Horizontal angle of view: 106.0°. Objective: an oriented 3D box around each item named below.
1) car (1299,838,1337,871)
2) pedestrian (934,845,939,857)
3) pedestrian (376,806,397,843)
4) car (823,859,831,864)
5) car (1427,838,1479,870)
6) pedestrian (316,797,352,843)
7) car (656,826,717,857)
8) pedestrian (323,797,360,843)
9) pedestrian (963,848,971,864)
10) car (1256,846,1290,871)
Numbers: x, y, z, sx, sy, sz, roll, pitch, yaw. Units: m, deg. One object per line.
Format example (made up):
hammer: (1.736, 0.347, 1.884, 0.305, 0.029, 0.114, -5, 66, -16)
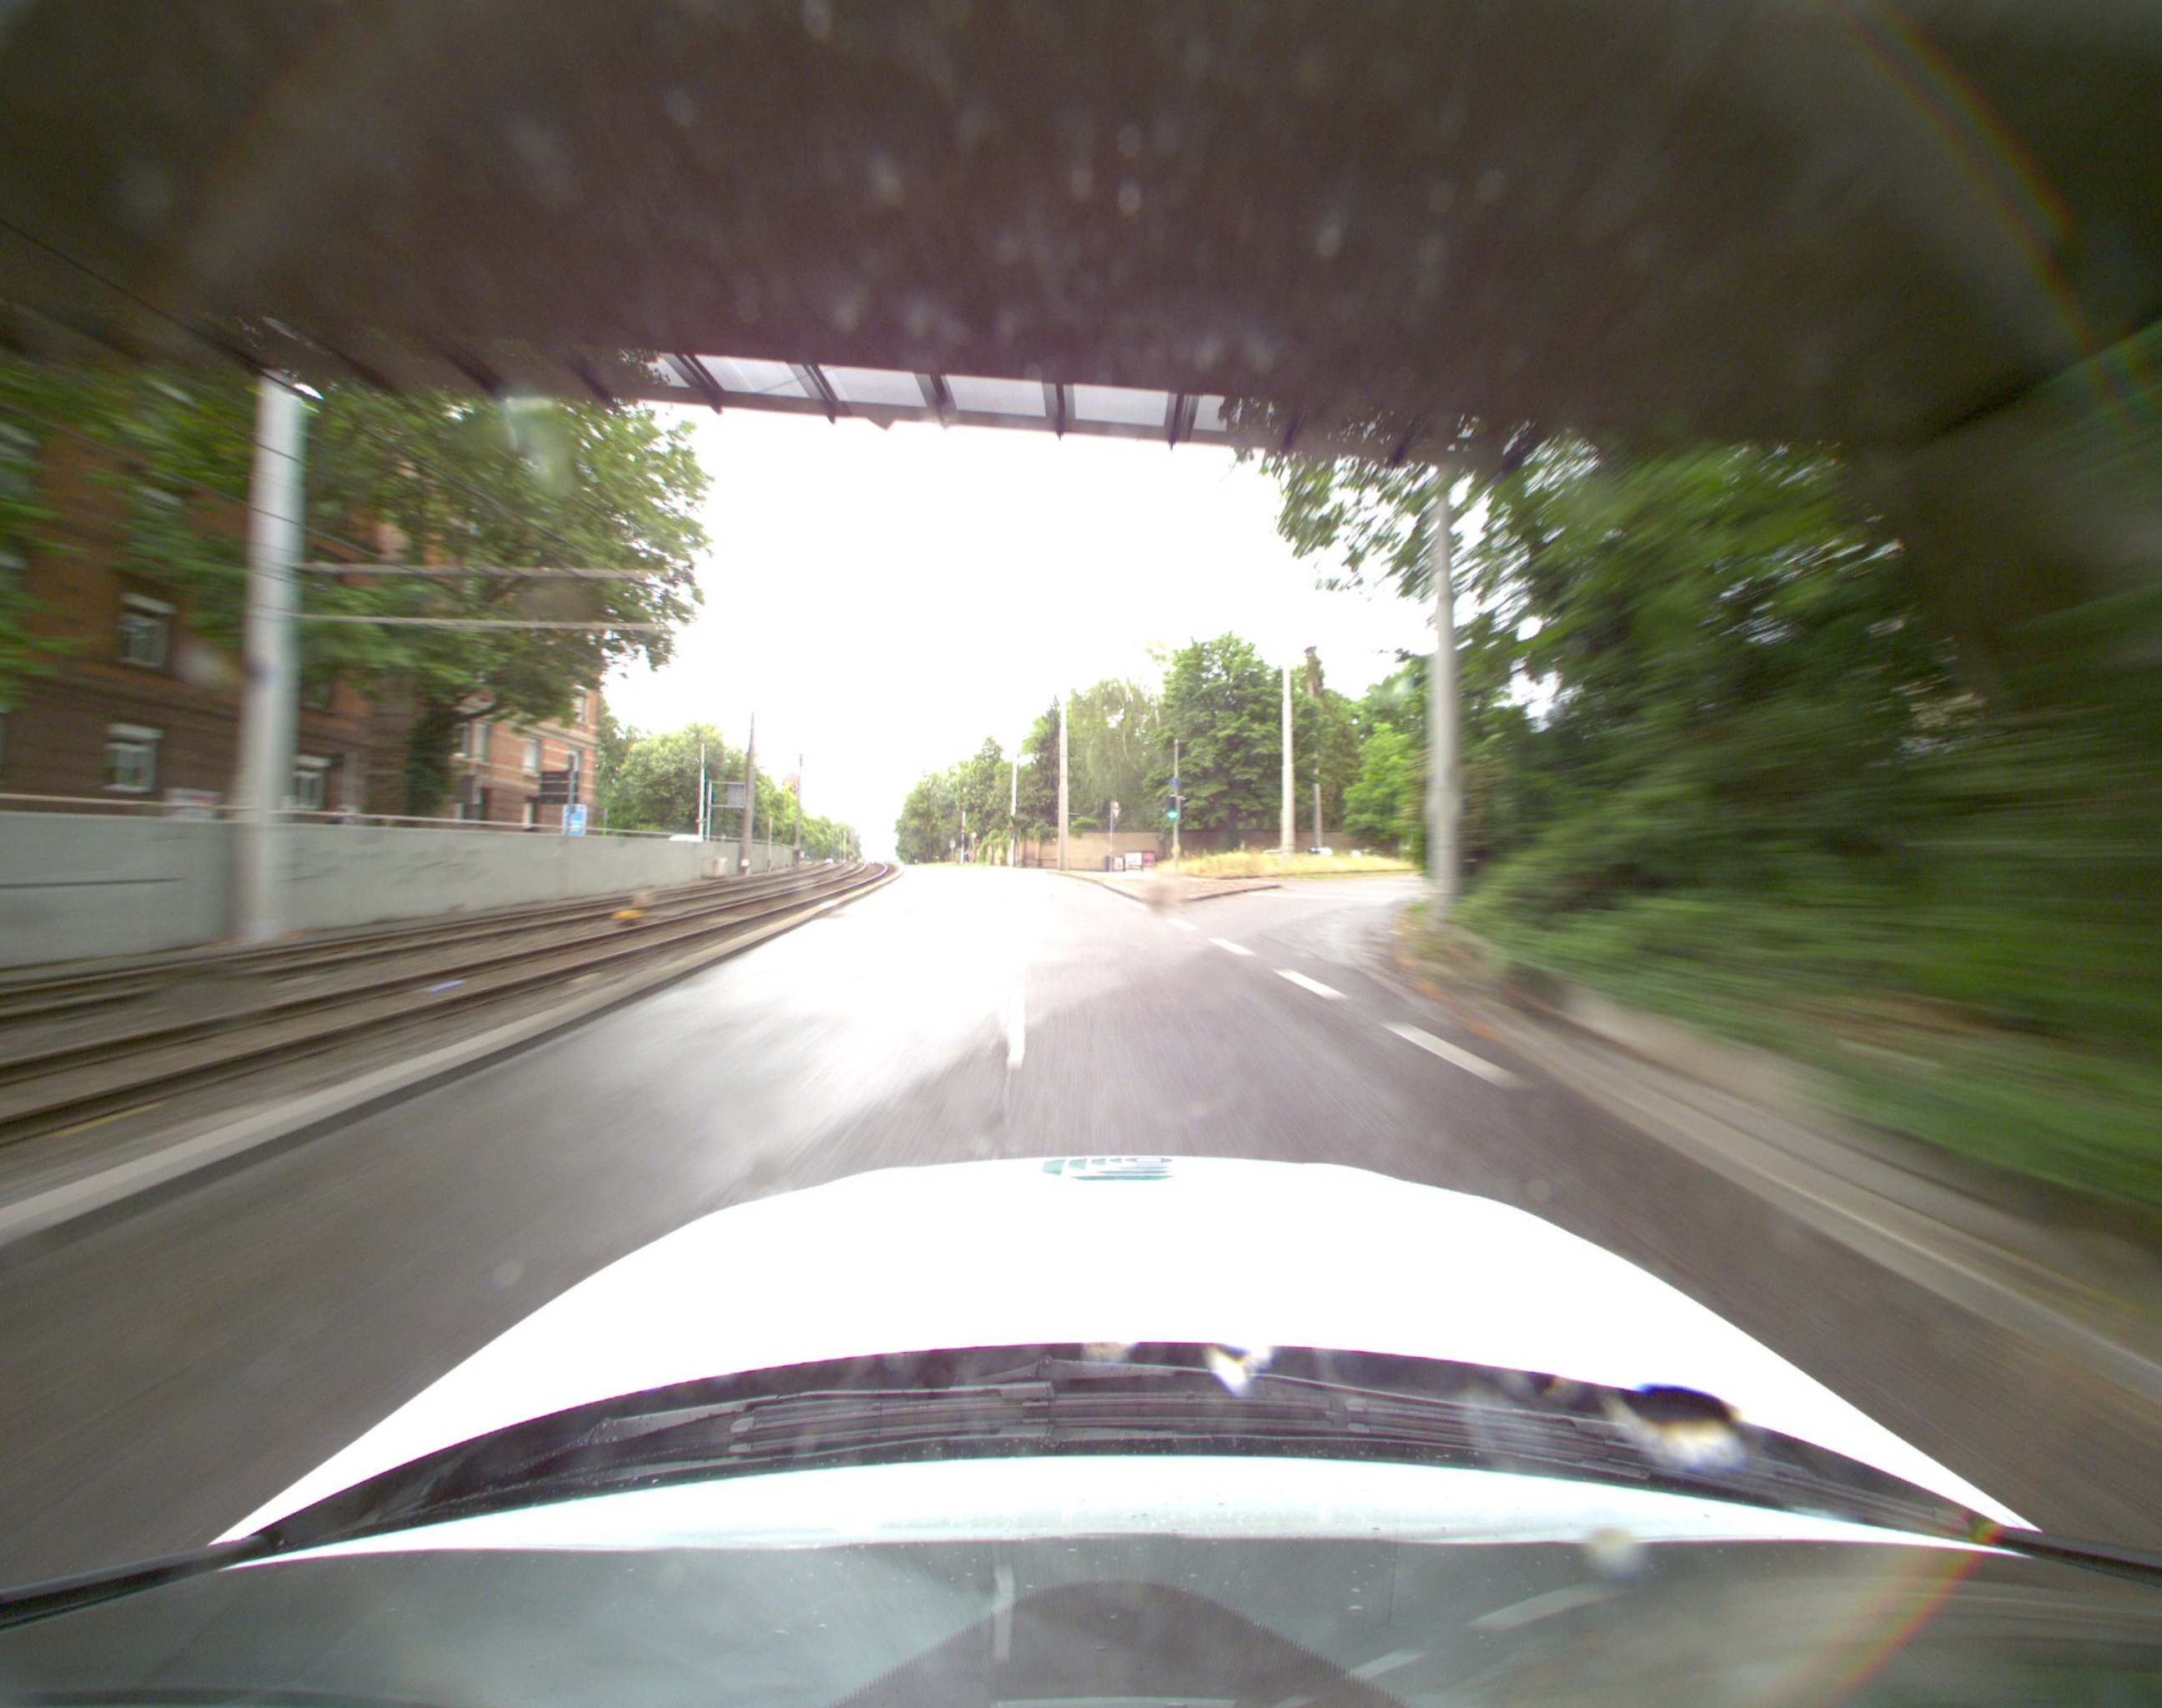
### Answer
car: (13.716, 0.059, 47.358, 1.742, 1.803, 4.286, 0, -1, 11)
pedestrian: (-20.831, -0.403, 117.320, 0.720, 1.687, 0.725, 2, -1, -14)
pedestrian: (-25.648, -1.082, 30.068, 0.334, 1.334, 0.503, -1, 1, -8)
car: (-69.425, 2.018, 222.248, 1.797, 1.510, 3.830, 1, 0, -14)
car: (20.943, 0.023, 45.985, 1.771, 1.557, 4.232, -2, -3, 12)
pedestrian: (-27.227, -1.231, 29.682, 0.590, 1.624, 0.724, -1, 1, 6)
car: (-22.771, -0.689, 47.180, 1.792, 1.611, 4.348, 2, 0, -7)
pedestrian: (-26.482, -1.206, 29.179, 0.590, 1.624, 0.724, -1, 1, 6)
pedestrian: (-13.151, 0.251, 94.038, 0.720, 1.850, 0.779, 2, -1, -14)
car: (11.212, 0.276, 47.758, 1.742, 1.406, 4.011, 0, -1, 11)
